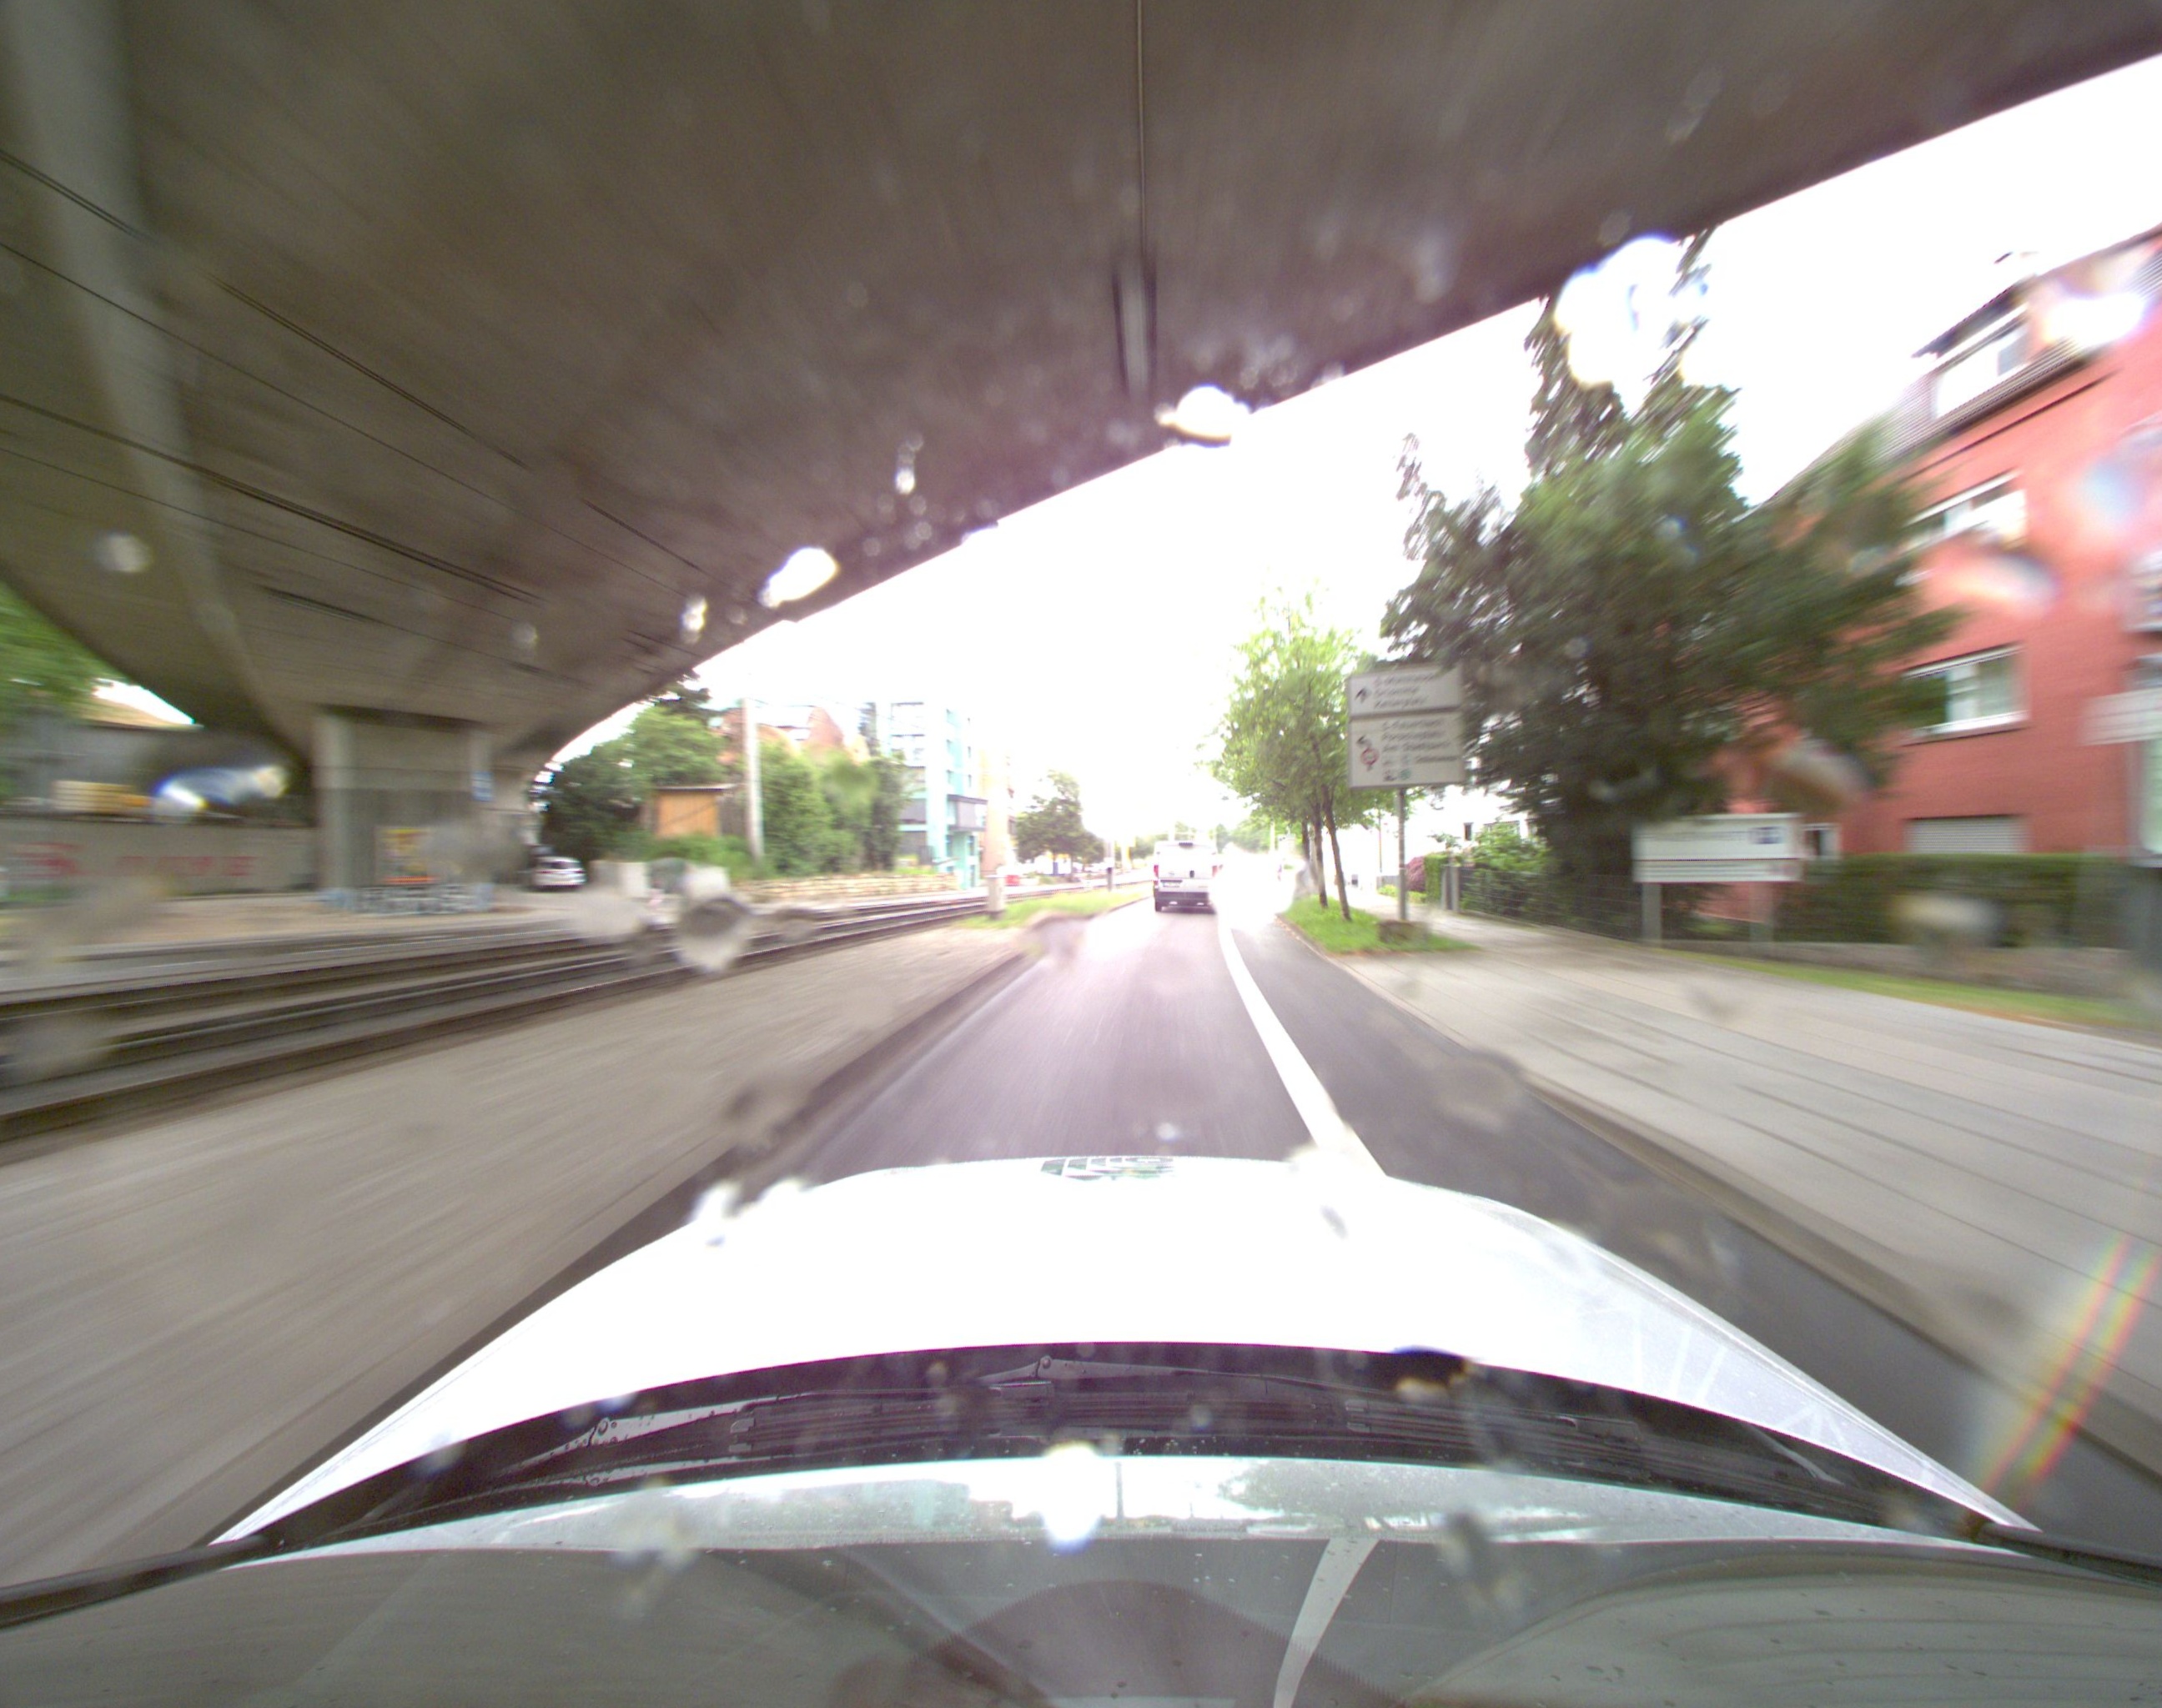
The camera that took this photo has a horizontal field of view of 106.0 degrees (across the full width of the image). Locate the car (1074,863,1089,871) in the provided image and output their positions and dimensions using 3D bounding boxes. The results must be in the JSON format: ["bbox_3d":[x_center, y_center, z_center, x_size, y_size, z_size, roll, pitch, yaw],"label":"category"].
[{"bbox_3d":[0.128,2.385,148.168,1.981,1.442,4.010,1,-1,10],"label":"car"}]

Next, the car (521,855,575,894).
[{"bbox_3d":[-25.448,0.950,38.844,1.728,1.667,3.161,2,0,-40],"label":"car"}]

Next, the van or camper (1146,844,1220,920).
[{"bbox_3d":[3.432,0.899,27.016,2.186,2.253,4.694,1,-1,8],"label":"van or camper"}]

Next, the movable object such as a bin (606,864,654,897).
[{"bbox_3d":[-21.380,1.235,38.617,1.570,1.479,1.780,1,1,-43],"label":"movable object such as a bin"}]

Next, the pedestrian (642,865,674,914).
[{"bbox_3d":[-16.407,1.367,31.583,0.689,1.831,0.869,0,0,12],"label":"pedestrian"}]

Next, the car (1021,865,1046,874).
[{"bbox_3d":[-7.719,2.474,132.104,3.769,1.454,1.544,0,-1,-14],"label":"car"}]

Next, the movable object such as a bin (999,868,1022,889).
[{"bbox_3d":[-7.639,2.644,88.123,2.124,2.157,1.804,1,0,3],"label":"movable object such as a bin"}]

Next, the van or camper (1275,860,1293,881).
[{"bbox_3d":[26.647,2.092,106.957,1.980,2.563,6.062,1,0,12],"label":"van or camper"}]

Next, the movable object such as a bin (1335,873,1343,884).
[{"bbox_3d":[21.377,2.034,67.563,0.583,0.879,0.449,-1,-2,11],"label":"movable object such as a bin"}]

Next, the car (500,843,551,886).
[{"bbox_3d":[-28.949,0.523,42.407,1.807,2.039,3.161,2,0,-40],"label":"car"}]

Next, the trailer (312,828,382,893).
[{"bbox_3d":[-32.635,0.296,36.187,4.072,2.725,2.012,0,-1,44],"label":"trailer"}]

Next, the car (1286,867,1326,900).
[{"bbox_3d":[10.552,1.353,38.372,1.665,1.423,4.581,0,-1,13],"label":"car"}]

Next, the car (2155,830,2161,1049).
[{"bbox_3d":[7.007,0.587,3.699,1.779,1.522,3.759,0,0,40],"label":"car"}]

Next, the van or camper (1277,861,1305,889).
[{"bbox_3d":[15.432,1.534,60.040,1.838,1.920,5.011,-1,-1,12],"label":"van or camper"}]

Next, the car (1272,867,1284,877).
[{"bbox_3d":[30.900,2.847,128.019,1.635,1.446,3.967,1,0,11],"label":"car"}]

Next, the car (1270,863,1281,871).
[{"bbox_3d":[37.365,2.431,156.424,1.836,1.500,3.965,1,-1,10],"label":"car"}]

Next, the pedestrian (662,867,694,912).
[{"bbox_3d":[-15.523,1.358,31.394,0.688,1.670,0.891,0,0,14],"label":"pedestrian"}]
